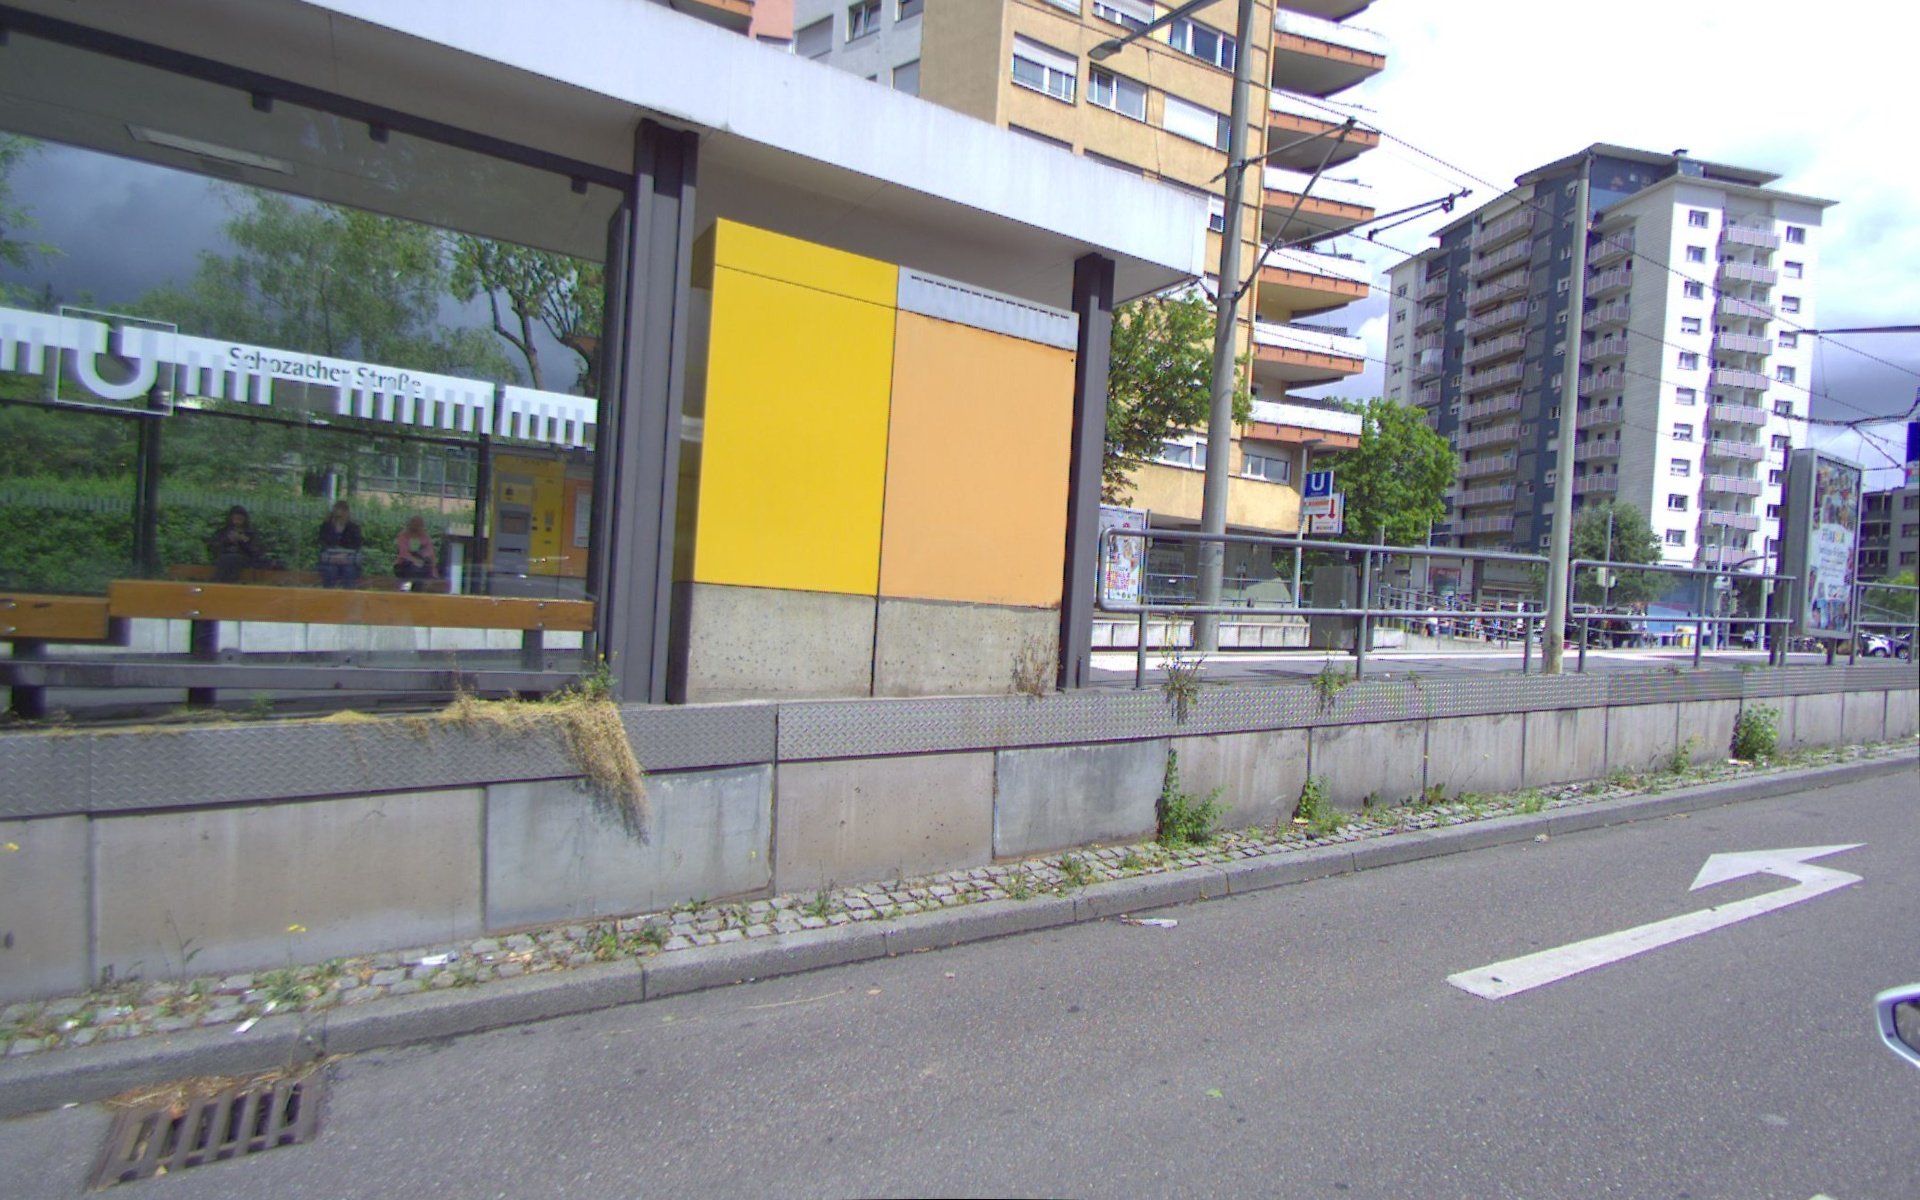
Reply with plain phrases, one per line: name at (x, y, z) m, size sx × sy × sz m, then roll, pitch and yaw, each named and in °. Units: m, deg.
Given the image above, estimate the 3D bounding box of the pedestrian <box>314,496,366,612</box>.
pedestrian at (-7.763, -0.558, 12.584) m, size 0.501 × 1.387 × 0.640 m, roll 1°, pitch 0°, yaw -29°

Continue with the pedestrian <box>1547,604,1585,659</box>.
pedestrian at (18.105, 0.934, 30.019) m, size 0.762 × 1.604 × 0.607 m, roll 1°, pitch 0°, yaw -19°

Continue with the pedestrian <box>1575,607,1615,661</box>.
pedestrian at (19.260, 1.023, 30.458) m, size 0.618 × 1.599 × 0.851 m, roll 1°, pitch 0°, yaw -38°

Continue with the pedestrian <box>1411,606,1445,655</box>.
pedestrian at (16.572, 1.072, 35.585) m, size 0.678 × 1.719 × 0.858 m, roll 1°, pitch 0°, yaw -14°

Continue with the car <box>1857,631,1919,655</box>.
car at (61.333, 2.809, 65.805) m, size 1.602 × 1.482 × 3.576 m, roll 1°, pitch 0°, yaw -38°

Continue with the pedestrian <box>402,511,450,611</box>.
pedestrian at (-6.945, -0.492, 13.058) m, size 0.511 × 1.253 × 0.739 m, roll 1°, pitch 0°, yaw -29°

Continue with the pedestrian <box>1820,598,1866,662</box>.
pedestrian at (23.035, 0.784, 26.209) m, size 0.628 × 1.654 × 0.699 m, roll 1°, pitch -1°, yaw -22°

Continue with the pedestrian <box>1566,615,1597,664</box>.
pedestrian at (17.699, 1.113, 28.618) m, size 0.543 × 1.360 × 0.669 m, roll 1°, pitch 0°, yaw 12°

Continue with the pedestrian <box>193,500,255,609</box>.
pedestrian at (-8.863, -0.532, 12.095) m, size 0.539 × 1.253 × 0.515 m, roll 1°, pitch 0°, yaw -42°

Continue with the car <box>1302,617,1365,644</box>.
car at (24.963, 2.010, 67.203) m, size 1.726 × 1.702 × 3.661 m, roll 1°, pitch -1°, yaw -33°

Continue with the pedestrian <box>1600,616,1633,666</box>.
pedestrian at (18.132, 1.119, 27.755) m, size 0.677 × 1.360 × 0.859 m, roll 1°, pitch 0°, yaw 30°

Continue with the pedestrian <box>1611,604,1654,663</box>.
pedestrian at (20.127, 0.984, 30.078) m, size 0.814 × 1.729 × 0.679 m, roll 1°, pitch 0°, yaw -19°

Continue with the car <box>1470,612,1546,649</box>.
car at (31.587, 1.746, 57.944) m, size 3.663 × 2.040 × 1.806 m, roll -1°, pitch -1°, yaw 37°
